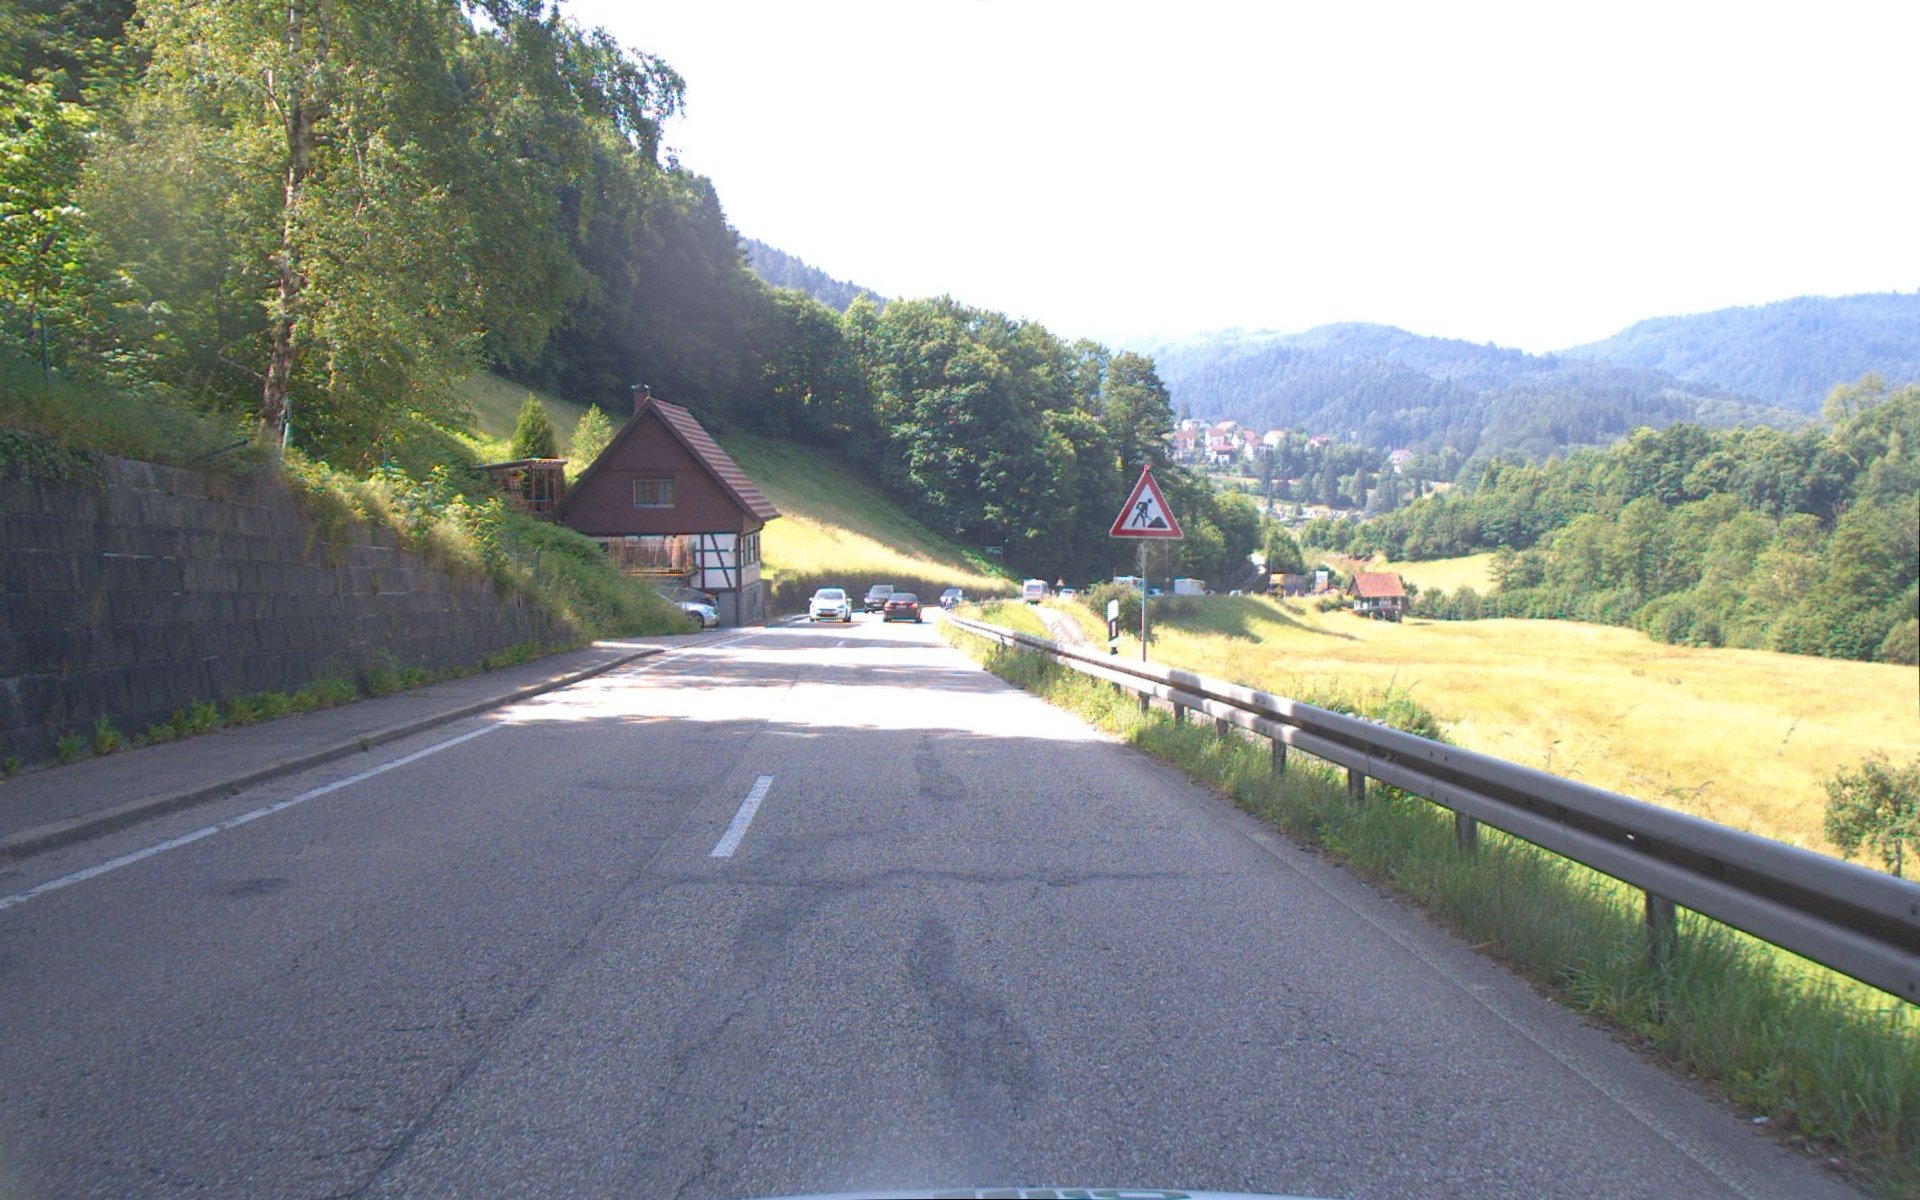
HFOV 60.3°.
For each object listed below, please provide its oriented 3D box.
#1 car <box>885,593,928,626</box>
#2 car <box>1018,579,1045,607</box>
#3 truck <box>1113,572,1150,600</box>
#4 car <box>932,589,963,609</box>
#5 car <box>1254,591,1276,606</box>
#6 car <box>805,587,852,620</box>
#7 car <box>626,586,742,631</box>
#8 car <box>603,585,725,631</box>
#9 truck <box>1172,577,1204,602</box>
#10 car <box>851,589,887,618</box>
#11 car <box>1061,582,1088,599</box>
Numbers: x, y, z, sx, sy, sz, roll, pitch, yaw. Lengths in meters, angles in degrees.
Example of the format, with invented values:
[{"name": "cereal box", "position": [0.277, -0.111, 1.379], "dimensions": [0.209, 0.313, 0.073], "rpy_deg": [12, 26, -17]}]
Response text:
[{"name": "car", "position": [-2.509, 0.425, 77.722], "dimensions": [1.734, 1.358, 3.768], "rpy_deg": [2, 2, 2]}, {"name": "car", "position": [6.512, -0.664, 150.132], "dimensions": [1.951, 2.393, 4.919], "rpy_deg": [2, 2, 8]}, {"name": "truck", "position": [19.939, -1.627, 192.150], "dimensions": [2.733, 3.049, 6.872], "rpy_deg": [4, 2, 18]}, {"name": "car", "position": [-0.935, -0.095, 126.897], "dimensions": [1.727, 1.420, 4.149], "rpy_deg": [2, 1, 8]}, {"name": "car", "position": [44.892, -0.197, 243.308], "dimensions": [1.957, 1.958, 3.993], "rpy_deg": [5, 1, 29]}, {"name": "car", "position": [-5.918, 0.148, 74.731], "dimensions": [1.741, 1.462, 4.000], "rpy_deg": [0, 0, 0]}, {"name": "car", "position": [-9.668, 0.286, 58.171], "dimensions": [3.738, 1.458, 1.864], "rpy_deg": [1, 1, 0]}, {"name": "car", "position": [-9.897, 0.255, 55.463], "dimensions": [3.738, 1.441, 1.858], "rpy_deg": [1, 1, 0]}, {"name": "truck", "position": [29.536, -1.336, 214.274], "dimensions": [2.194, 2.852, 6.226], "rpy_deg": [3, 0, 26]}, {"name": "car", "position": [-5.365, 0.216, 98.170], "dimensions": [1.850, 1.674, 4.258], "rpy_deg": [1, 0, 1]}, {"name": "car", "position": [11.864, -0.978, 170.880], "dimensions": [1.952, 1.509, 4.003], "rpy_deg": [4, 2, 16]}]
